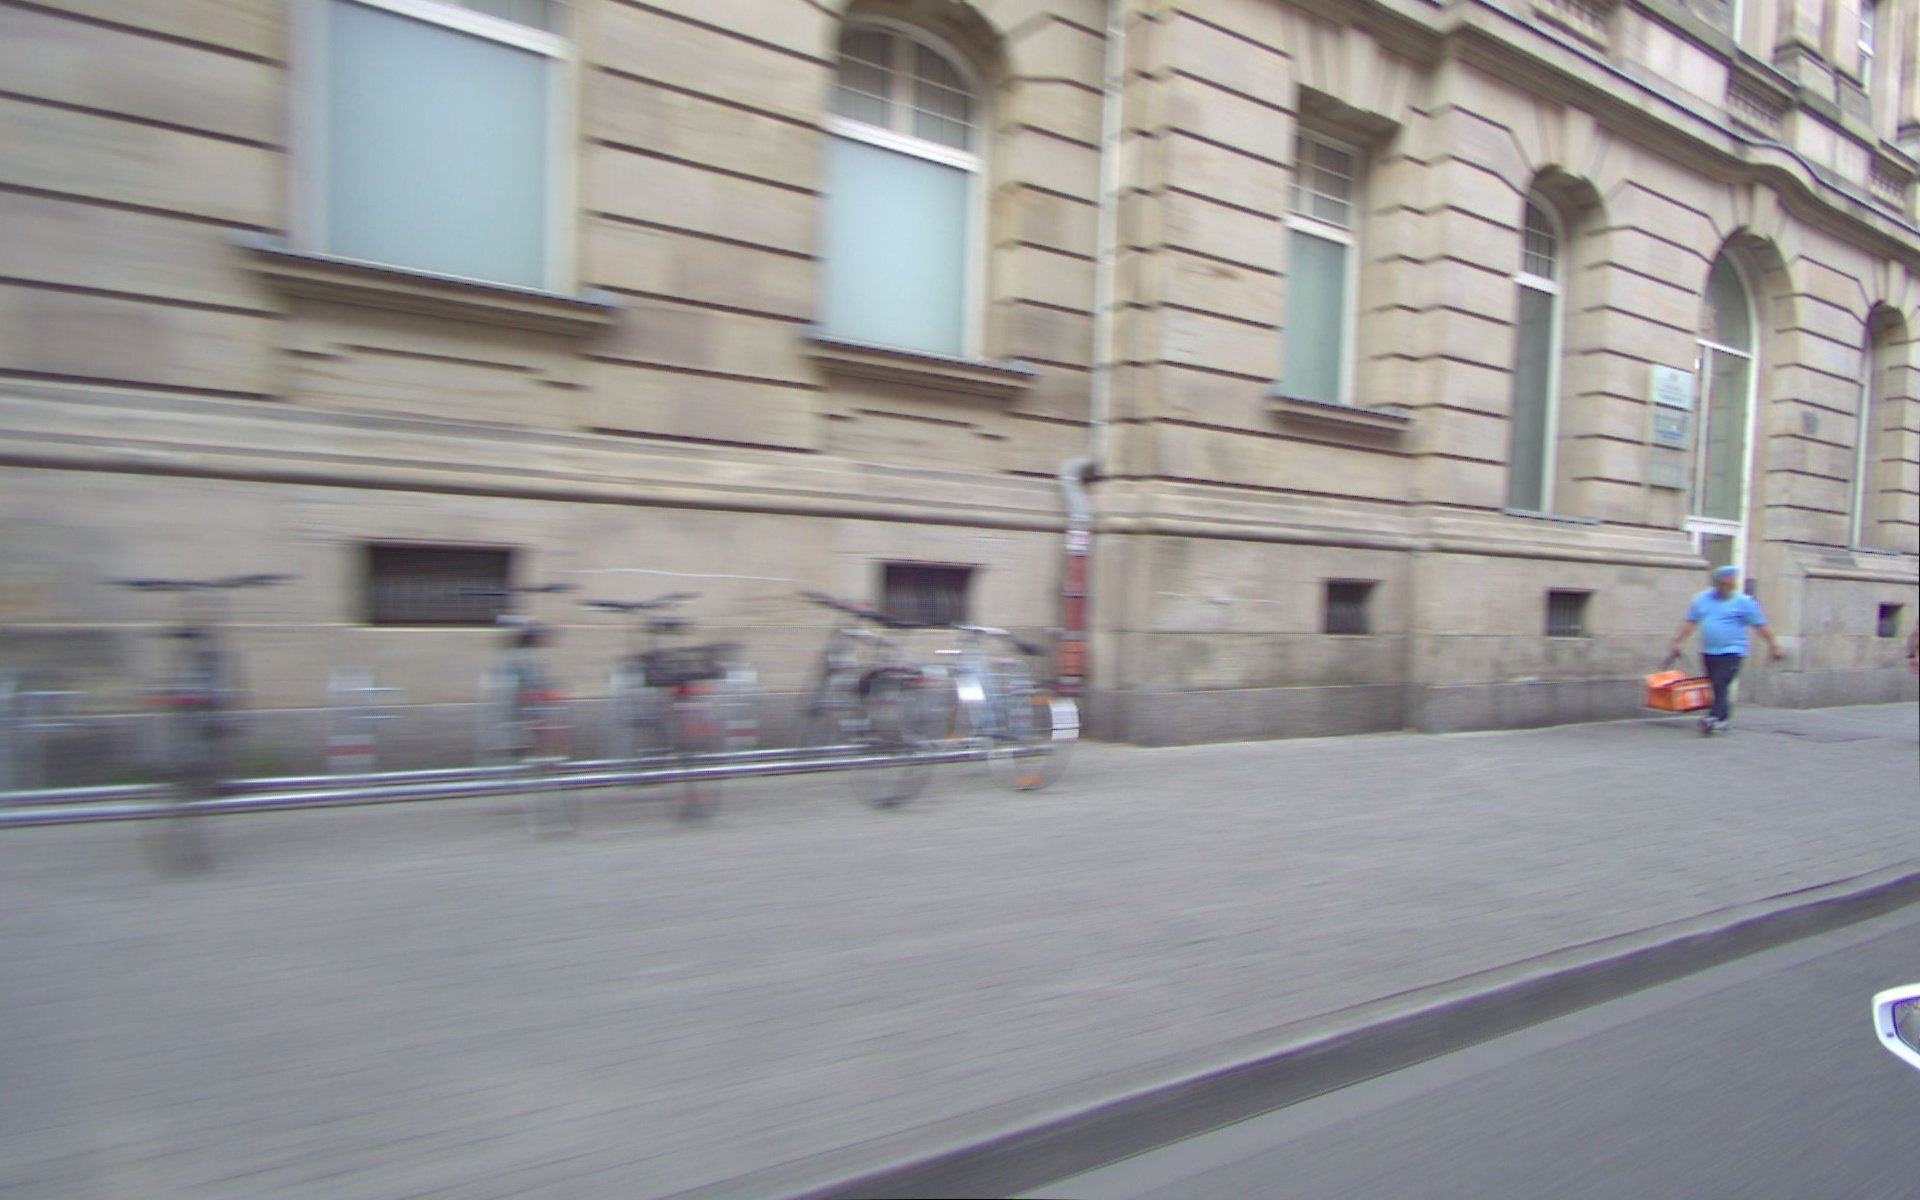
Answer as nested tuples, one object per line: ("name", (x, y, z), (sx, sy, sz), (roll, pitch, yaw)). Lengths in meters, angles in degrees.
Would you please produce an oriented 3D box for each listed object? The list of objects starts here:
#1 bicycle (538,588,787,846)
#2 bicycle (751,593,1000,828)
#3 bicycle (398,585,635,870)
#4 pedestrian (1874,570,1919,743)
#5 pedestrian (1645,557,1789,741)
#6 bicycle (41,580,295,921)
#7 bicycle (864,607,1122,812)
("bicycle", (-1.748, 0.546, 5.660), (0.723, 1.093, 1.923), (1, 3, -36))
("bicycle", (-0.605, 0.574, 6.177), (0.739, 1.093, 1.927), (2, 3, -30))
("bicycle", (-2.373, 0.537, 5.216), (0.723, 1.093, 1.923), (1, 3, -36))
("pedestrian", (10.378, 0.605, 10.536), (0.958, 1.774, 0.805), (2, 3, -30))
("pedestrian", (7.739, 0.473, 10.295), (0.759, 1.769, 0.825), (1, 4, -29))
("bicycle", (-3.456, 0.518, 4.487), (0.723, 1.093, 1.923), (1, 3, -36))
("bicycle", (0.142, 0.633, 6.702), (0.714, 1.060, 1.923), (1, 3, -33))
